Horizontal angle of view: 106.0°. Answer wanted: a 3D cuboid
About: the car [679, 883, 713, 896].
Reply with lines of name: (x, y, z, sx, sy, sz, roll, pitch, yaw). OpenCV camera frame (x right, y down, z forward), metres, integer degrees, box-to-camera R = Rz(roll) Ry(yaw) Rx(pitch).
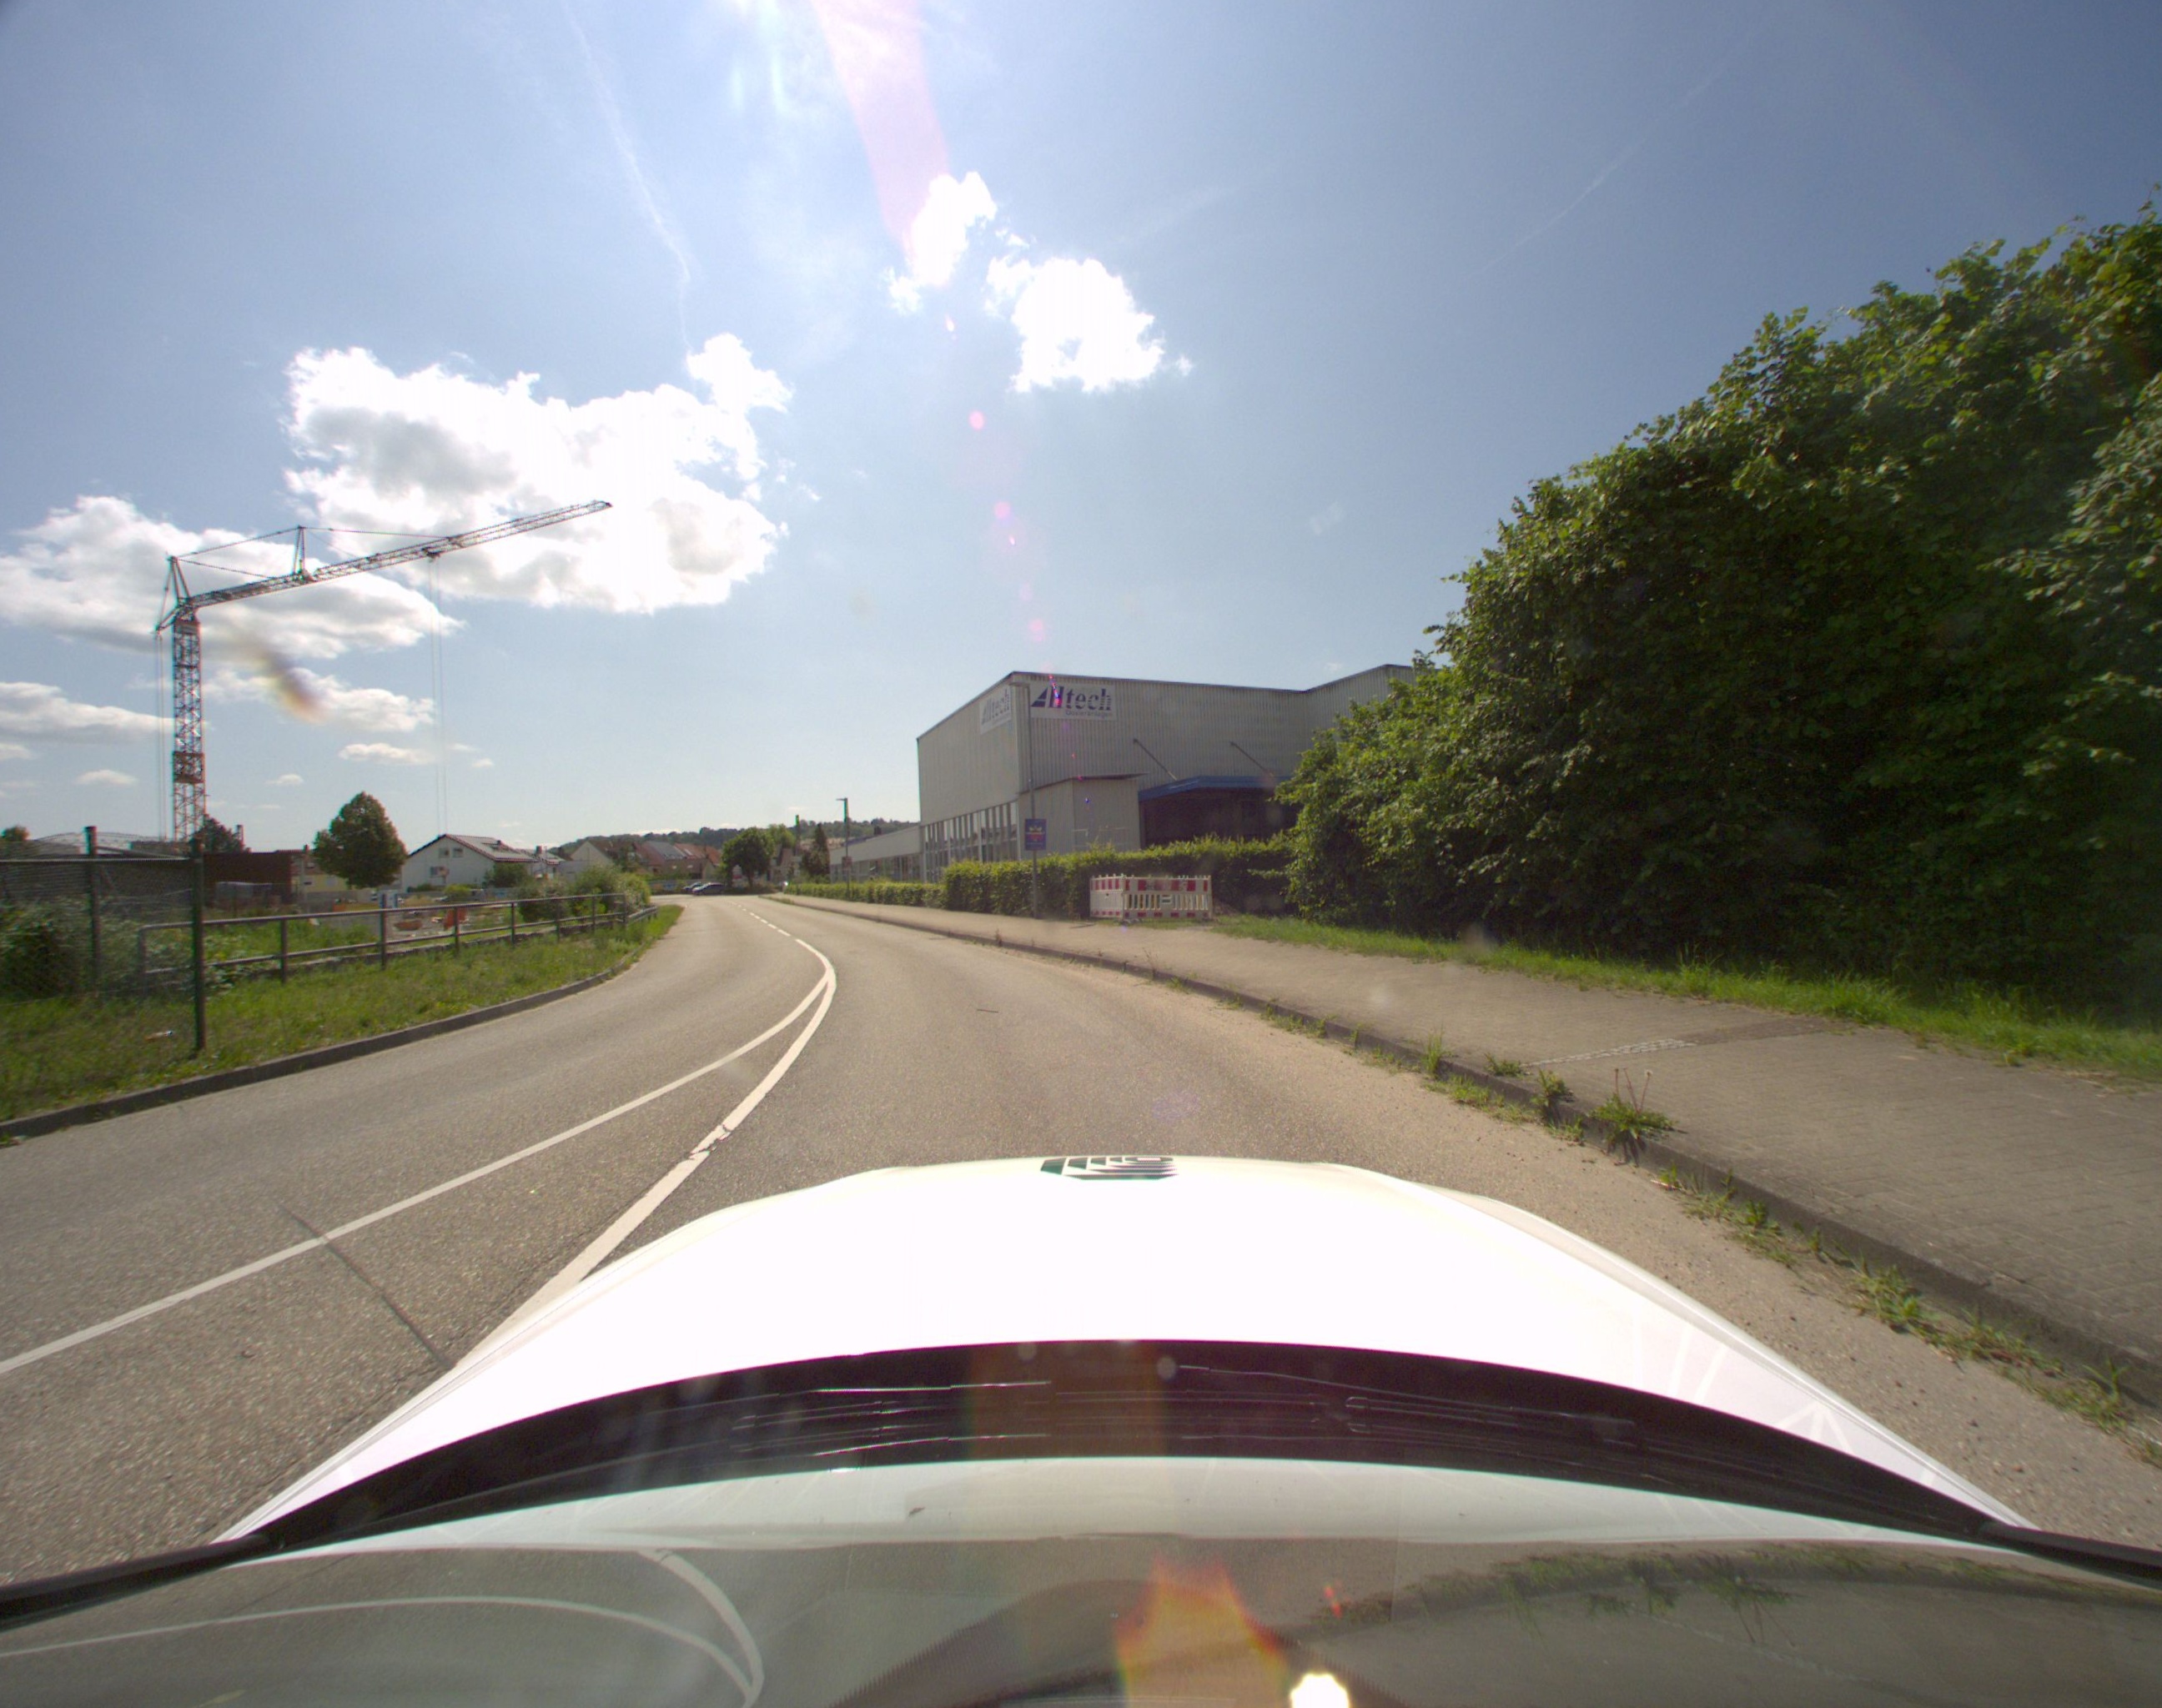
car: (-52.923, 4.886, 111.972, 4.016, 1.730, 1.751, 1, -3, -35)

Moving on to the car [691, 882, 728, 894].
car: (-48.683, 4.466, 106.671, 4.218, 1.463, 1.647, 0, -2, -34)
